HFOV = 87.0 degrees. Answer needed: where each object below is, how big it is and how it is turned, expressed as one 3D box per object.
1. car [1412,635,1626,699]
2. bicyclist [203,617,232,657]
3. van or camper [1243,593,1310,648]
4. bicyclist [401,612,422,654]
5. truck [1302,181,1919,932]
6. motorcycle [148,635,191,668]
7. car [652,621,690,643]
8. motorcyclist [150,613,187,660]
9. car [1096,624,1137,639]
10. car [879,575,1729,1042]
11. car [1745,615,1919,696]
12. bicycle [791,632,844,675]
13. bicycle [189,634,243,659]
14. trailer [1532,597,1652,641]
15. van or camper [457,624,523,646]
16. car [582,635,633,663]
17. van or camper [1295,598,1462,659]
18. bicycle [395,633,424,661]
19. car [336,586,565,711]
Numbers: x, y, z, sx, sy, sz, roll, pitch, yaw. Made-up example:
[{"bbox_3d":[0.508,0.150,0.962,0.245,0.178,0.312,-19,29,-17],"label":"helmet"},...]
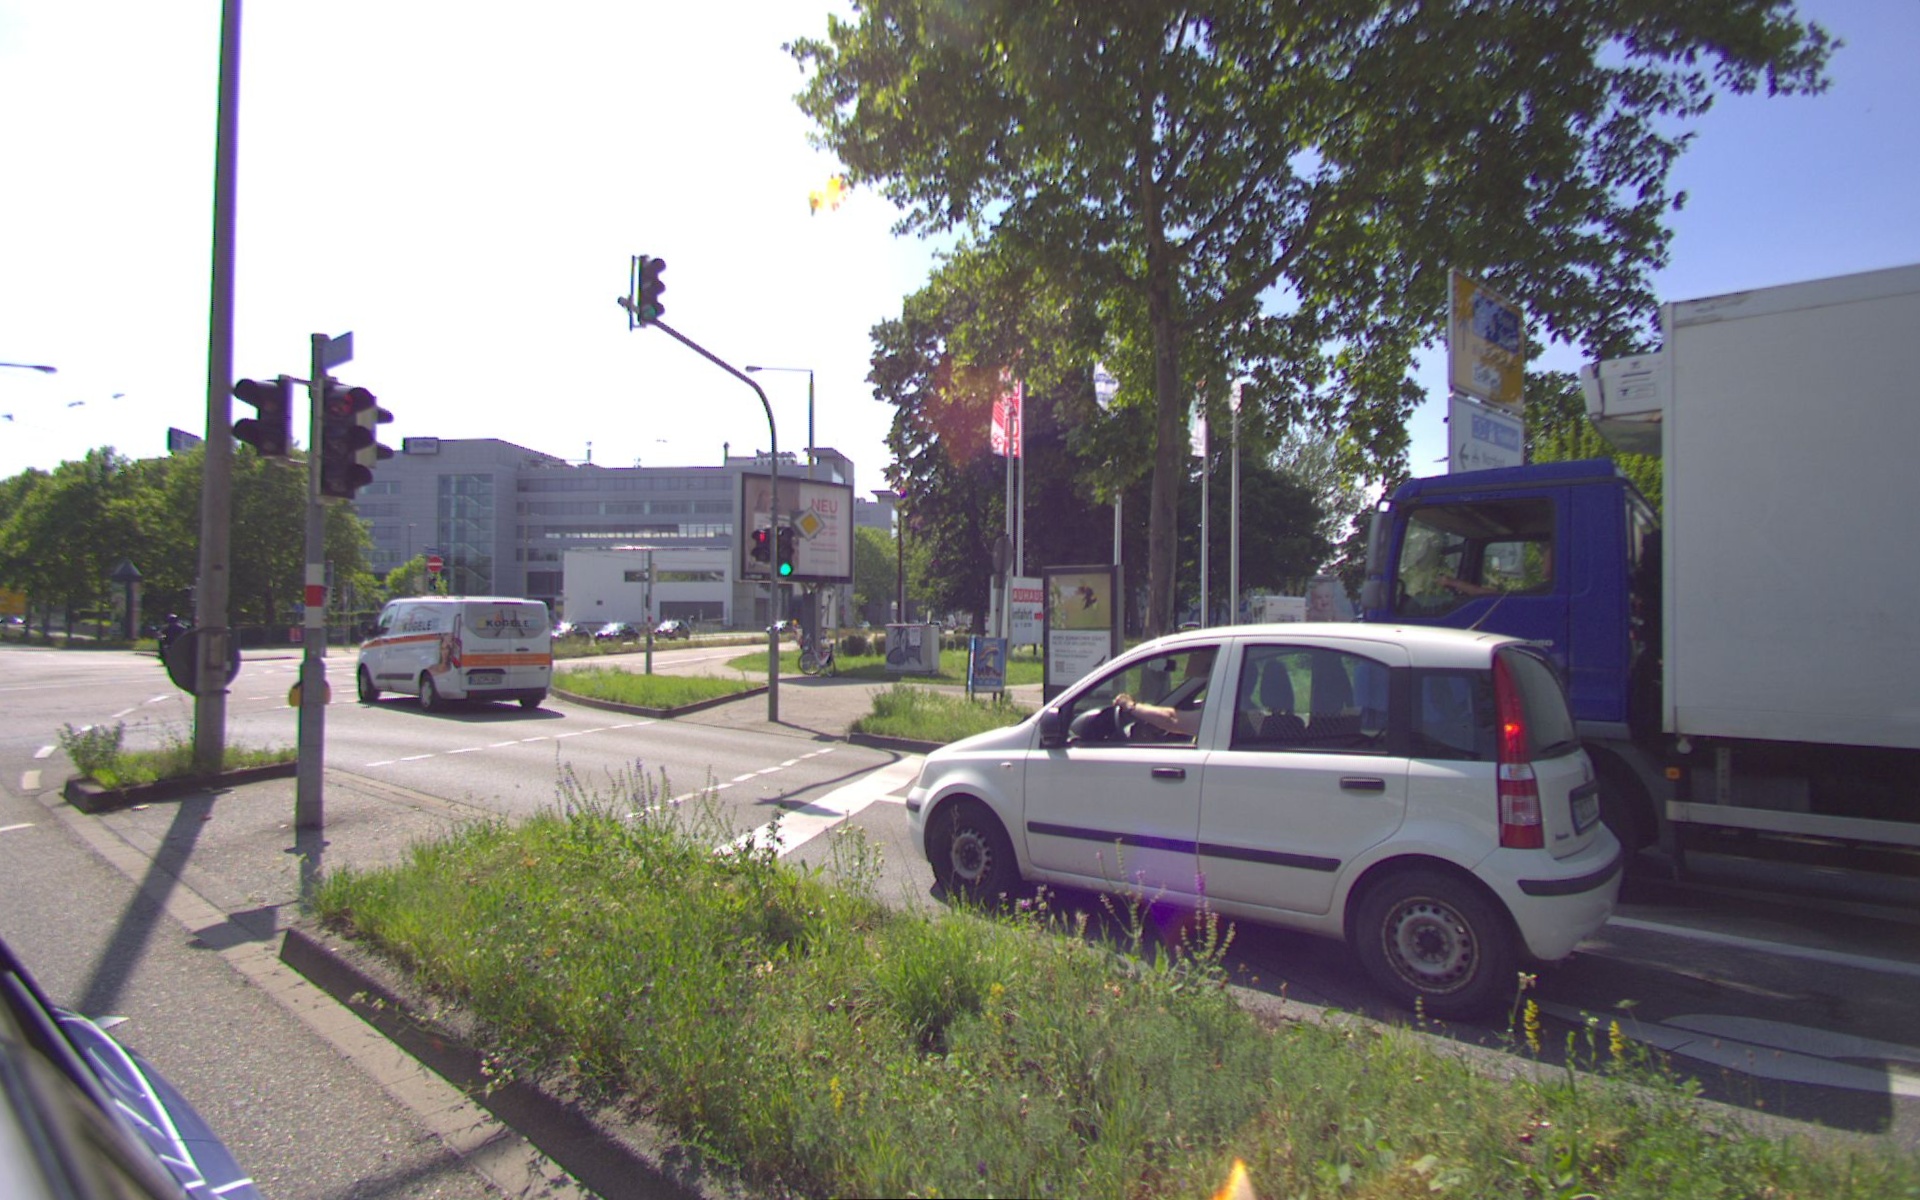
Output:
[{"bbox_3d":[14.951,1.776,27.282,4.511,1.584,2.201,0,-1,-1],"label":"car"},{"bbox_3d":[-33.470,1.658,45.608,0.698,1.802,0.765,-1,-1,12],"label":"bicyclist"},{"bbox_3d":[19.116,1.210,61.472,2.679,3.124,6.312,-1,-1,7],"label":"van or camper"},{"bbox_3d":[-19.776,1.184,36.514,0.521,1.503,0.610,1,-2,-44],"label":"bicyclist"},{"bbox_3d":[5.667,-0.168,5.487,6.688,3.498,2.774,-2,-4,41],"label":"truck"},{"bbox_3d":[-25.242,1.615,32.304,2.216,0.999,0.680,-2,-2,42],"label":"motorcycle"},{"bbox_3d":[-23.123,2.557,81.106,1.972,1.712,4.000,0,-1,0],"label":"car"},{"bbox_3d":[-25.287,1.163,32.333,0.987,1.481,0.735,-2,-2,41],"label":"motorcyclist"},{"bbox_3d":[16.901,3.355,109.169,4.333,1.576,1.869,-1,-1,9],"label":"car"},{"bbox_3d":[1.454,0.726,5.089,3.728,1.488,1.576,-2,-3,42],"label":"car"},{"bbox_3d":[17.309,1.025,20.244,2.195,1.425,4.524,-1,-1,34],"label":"car"},{"bbox_3d":[-3.686,1.349,26.114,0.586,1.045,1.900,1,-1,-34],"label":"bicycle"},{"bbox_3d":[-33.471,2.081,45.587,0.520,1.072,2.157,-1,-1,12],"label":"bicycle"},{"bbox_3d":[38.511,1.198,62.065,2.891,2.509,8.193,0,-1,7],"label":"trailer"},{"bbox_3d":[-38.019,2.812,81.911,4.454,1.705,1.998,0,-1,4],"label":"van or camper"},{"bbox_3d":[-23.145,3.181,66.524,1.972,1.712,4.000,0,-1,0],"label":"car"},{"bbox_3d":[15.833,1.092,38.625,5.454,2.226,2.191,0,-1,8],"label":"van or camper"},{"bbox_3d":[-19.973,1.688,36.702,0.411,0.945,1.999,1,-2,-43],"label":"bicycle"},{"bbox_3d":[-9.503,0.877,18.693,5.029,2.015,1.956,-2,-4,41],"label":"car"}]
